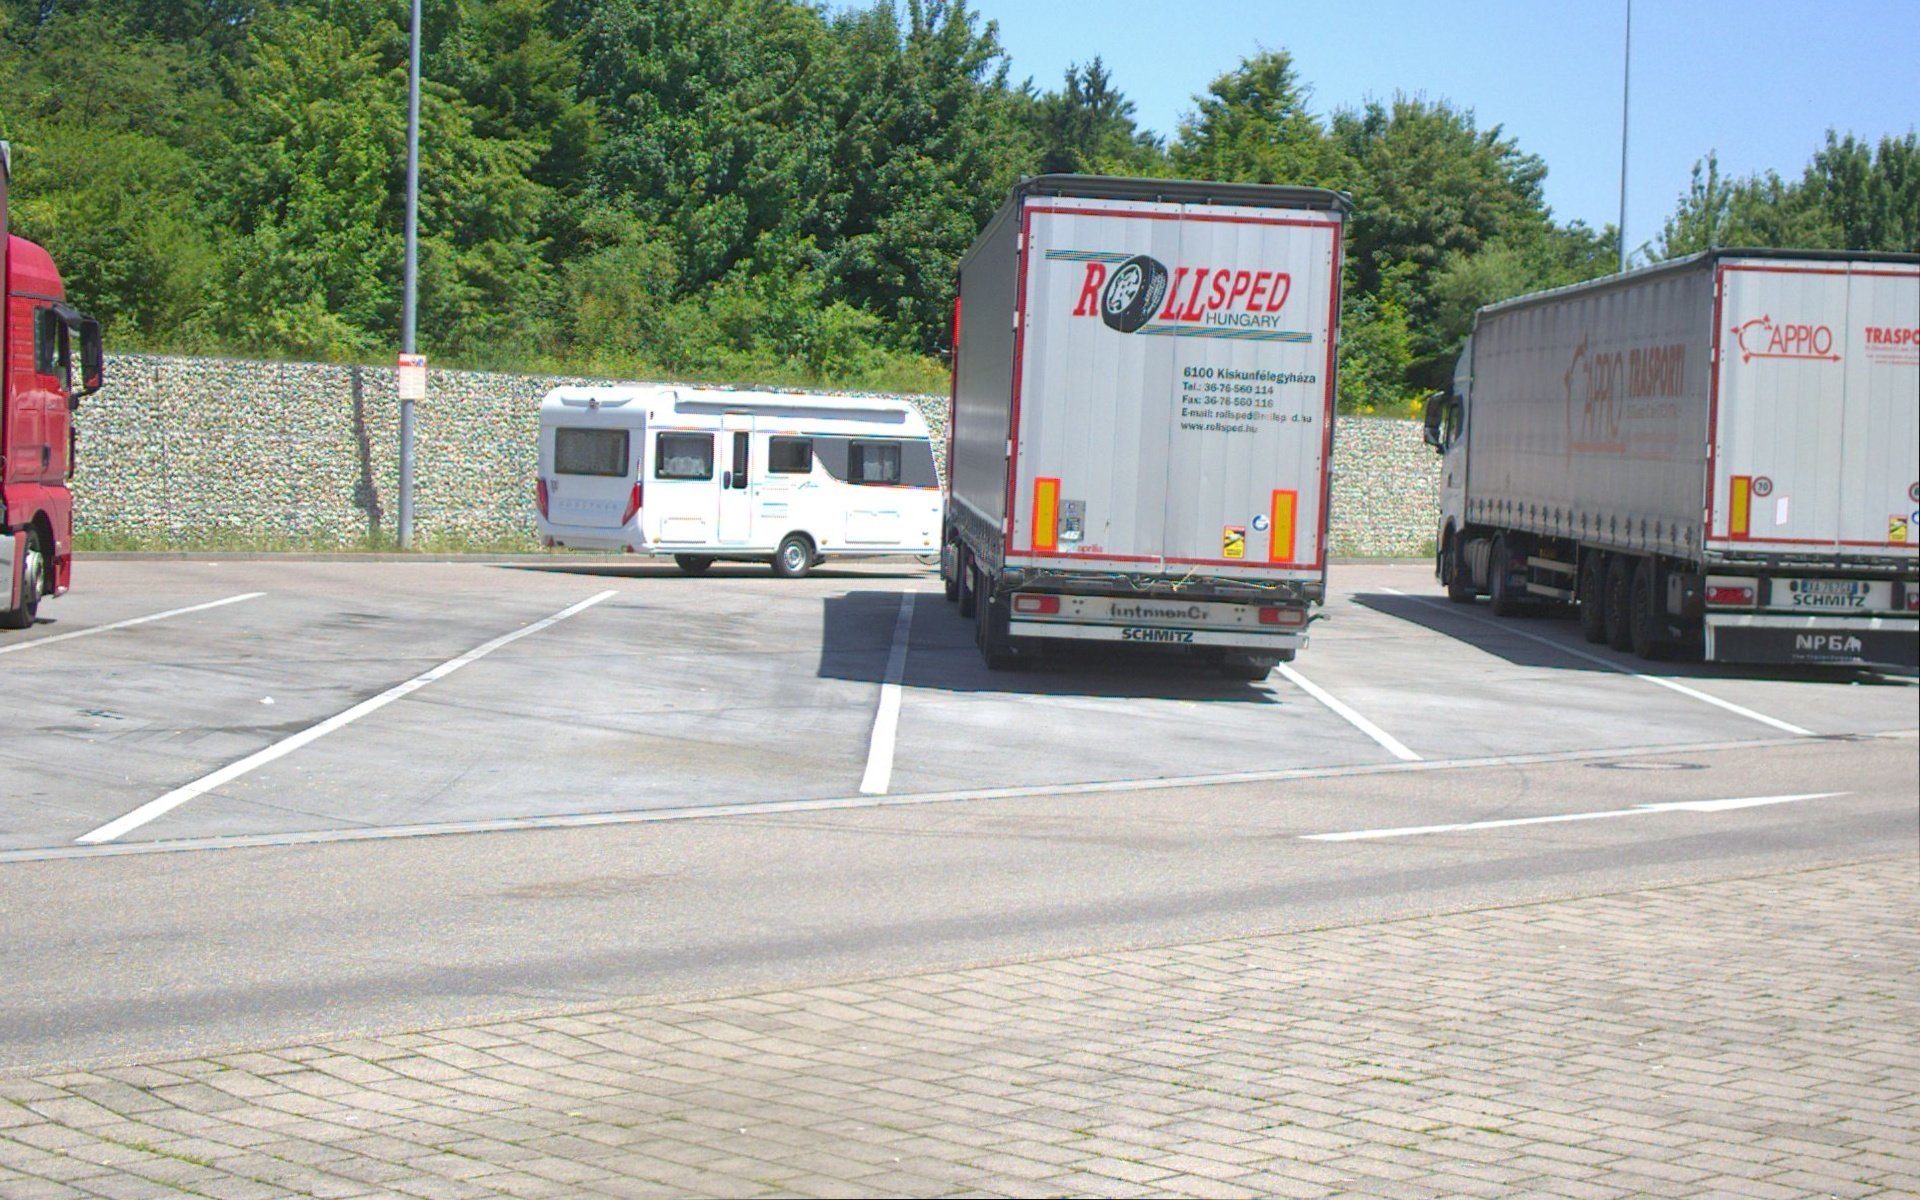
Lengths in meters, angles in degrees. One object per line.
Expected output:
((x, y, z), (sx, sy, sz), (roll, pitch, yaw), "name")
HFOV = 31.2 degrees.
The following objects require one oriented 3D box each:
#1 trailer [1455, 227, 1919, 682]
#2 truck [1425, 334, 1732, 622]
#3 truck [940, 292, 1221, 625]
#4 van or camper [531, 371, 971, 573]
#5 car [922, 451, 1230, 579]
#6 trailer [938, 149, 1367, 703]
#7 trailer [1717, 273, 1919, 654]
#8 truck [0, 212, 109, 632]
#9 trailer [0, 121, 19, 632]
((8.147, -1.636, 38.675), (2.838, 4.118, 13.724), (2, 3, -1), "trailer")
((8.055, -1.637, 45.488), (2.852, 3.472, 5.483), (2, 3, -1), "truck")
((1.282, -1.646, 39.799), (2.852, 3.472, 5.483), (2, 3, -1), "truck")
((-2.781, -1.709, 46.957), (5.833, 2.556, 2.271), (0, 4, -44), "van or camper")
((1.752, -1.244, 51.041), (4.499, 1.702, 1.786), (0, 4, -42), "car")
((1.430, -1.635, 33.186), (2.906, 4.118, 13.725), (2, 3, -1), "trailer")
((11.784, -1.534, 39.427), (2.838, 4.118, 13.724), (2, 3, -1), "trailer")
((-9.247, -1.529, 28.730), (2.852, 3.416, 5.483), (2, 3, -1), "truck")
((-9.158, -1.509, 21.292), (2.906, 4.118, 13.725), (2, 3, -1), "trailer")
